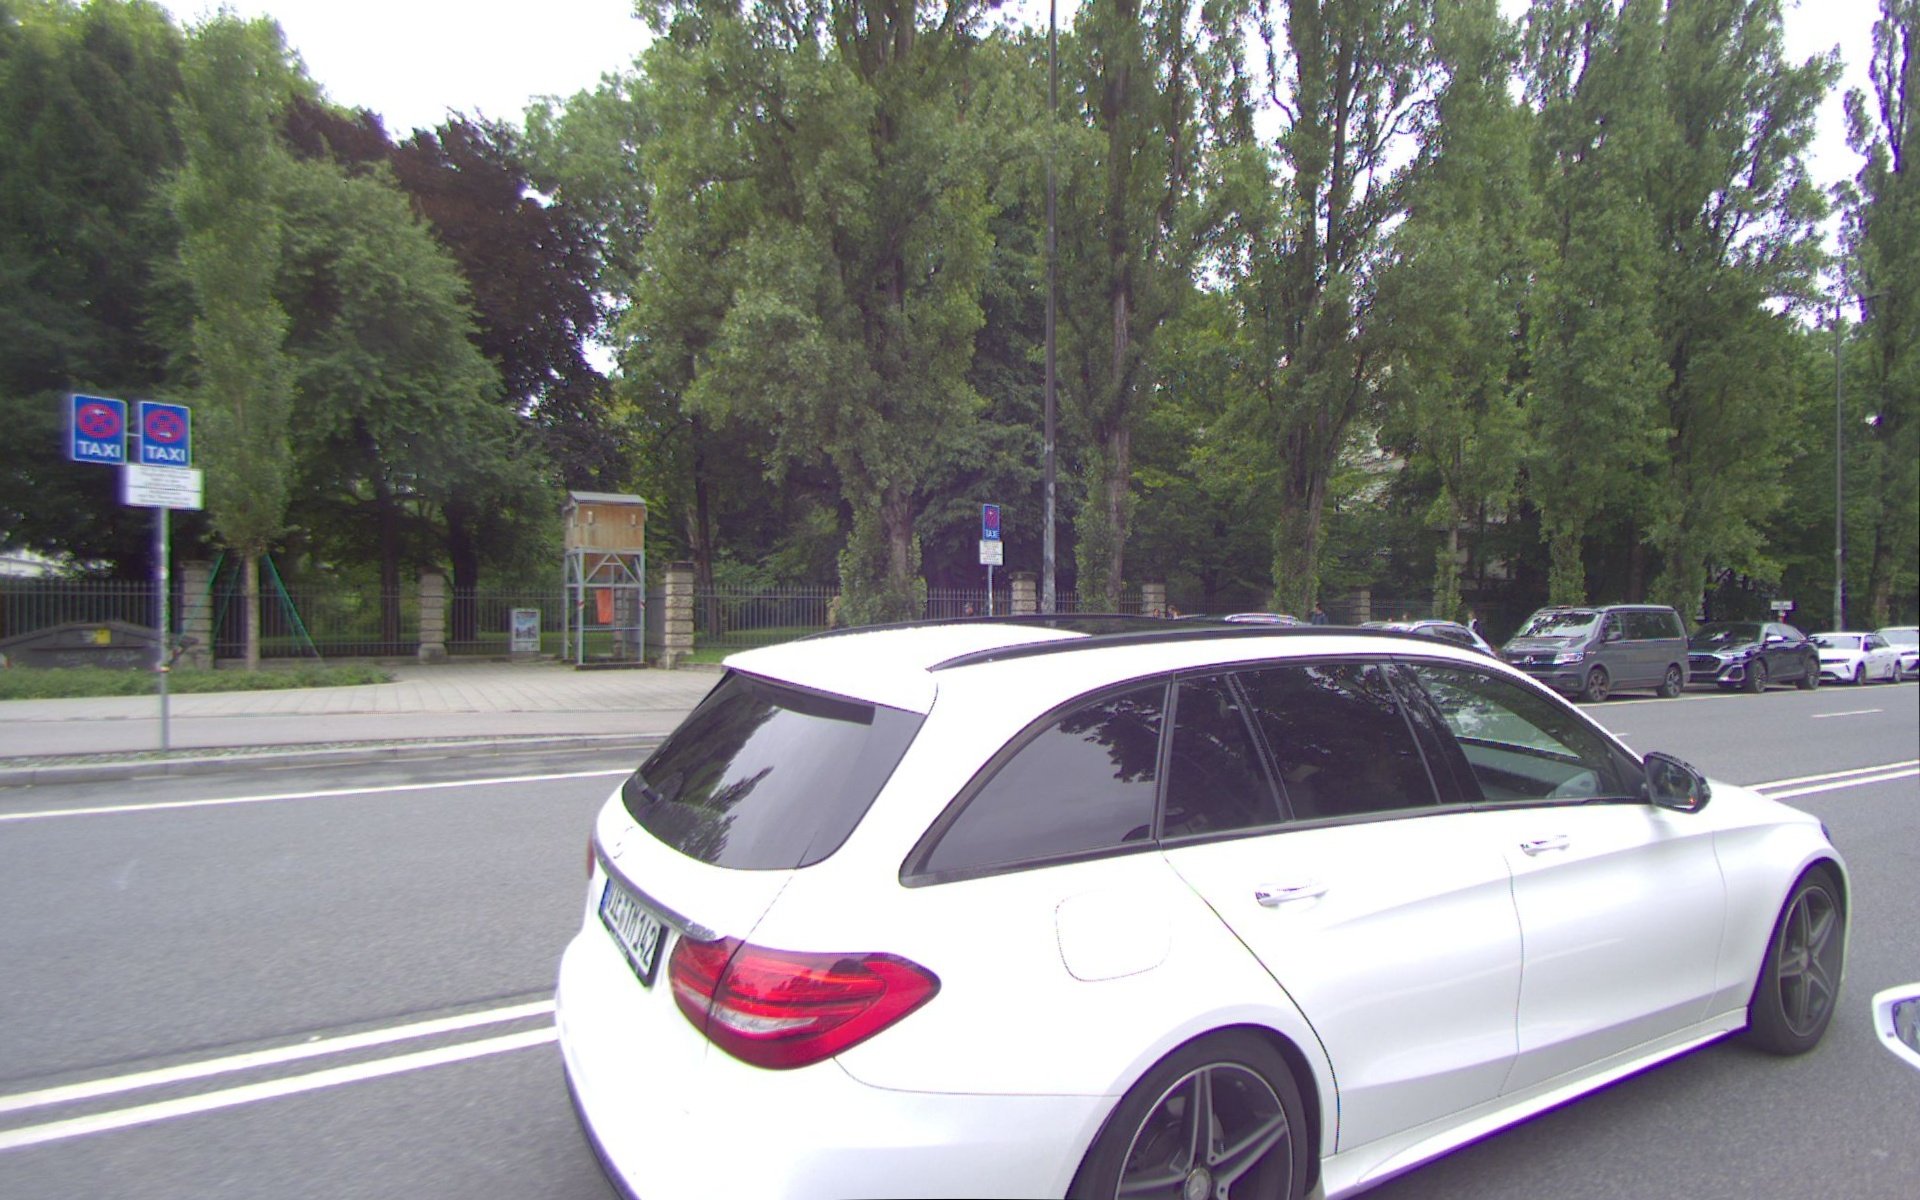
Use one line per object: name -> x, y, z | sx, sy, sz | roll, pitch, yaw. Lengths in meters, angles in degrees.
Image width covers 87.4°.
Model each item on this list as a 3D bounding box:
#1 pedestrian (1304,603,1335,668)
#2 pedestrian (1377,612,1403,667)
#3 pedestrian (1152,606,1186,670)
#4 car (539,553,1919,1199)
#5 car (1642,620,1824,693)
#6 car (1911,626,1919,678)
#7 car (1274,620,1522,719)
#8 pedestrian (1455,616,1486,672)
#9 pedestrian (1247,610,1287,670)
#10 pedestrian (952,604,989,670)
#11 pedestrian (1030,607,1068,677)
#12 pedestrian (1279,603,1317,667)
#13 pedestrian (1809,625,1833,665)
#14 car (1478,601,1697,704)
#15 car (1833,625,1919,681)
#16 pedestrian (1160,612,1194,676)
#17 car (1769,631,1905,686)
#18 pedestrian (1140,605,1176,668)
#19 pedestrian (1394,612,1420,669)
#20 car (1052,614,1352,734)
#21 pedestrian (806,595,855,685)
pedestrian -> 10.576, 1.031, 29.554 | 0.714, 1.884, 0.506 | 1, 0, -30
pedestrian -> 13.603, 1.243, 31.778 | 0.563, 1.730, 0.506 | 1, 0, -30
pedestrian -> 5.726, 1.025, 27.528 | 0.714, 1.730, 0.506 | 1, 0, -30
car -> 1.148, 0.715, 3.364 | 4.528, 1.474, 1.817 | 2, 0, -30
car -> 18.921, 1.362, 24.515 | 4.995, 1.630, 1.806 | 2, -3, -31
car -> 33.892, 1.711, 33.610 | 4.665, 1.680, 1.870 | 1, -3, -32
car -> 8.081, 1.205, 18.433 | 4.601, 1.605, 1.881 | 1, -2, -31
pedestrian -> 16.587, 1.422, 32.620 | 0.748, 1.780, 0.605 | 1, -1, -32
pedestrian -> 8.634, 1.110, 28.255 | 0.782, 1.639, 0.706 | 1, 0, -30
pedestrian -> 0.254, 0.907, 24.959 | 0.696, 1.617, 0.615 | 1, 0, -29
pedestrian -> 2.205, 1.032, 24.847 | 0.696, 1.682, 0.615 | 1, 0, -29
pedestrian -> 10.222, 1.052, 30.378 | 0.748, 1.879, 0.743 | 1, 0, -30
pedestrian -> 40.215, 2.095, 46.936 | 0.766, 1.839, 0.637 | 1, -1, -30
car -> 13.521, 1.085, 21.563 | 4.880, 1.982, 1.984 | 1, -2, -31
car -> 28.814, 1.590, 30.751 | 4.408, 1.609, 1.777 | 1, -3, -30
pedestrian -> 5.813, 1.171, 26.928 | 0.665, 1.691, 0.546 | 1, 0, -30
car -> 24.565, 1.620, 28.111 | 4.189, 1.441, 1.668 | 2, -3, -31
pedestrian -> 5.541, 1.010, 28.141 | 0.724, 1.745, 0.664 | 1, 0, -29
pedestrian -> 13.885, 1.243, 31.198 | 0.563, 1.730, 0.506 | 1, 0, -30
car -> 3.778, 1.068, 15.441 | 4.560, 1.617, 1.773 | 1, -3, -31
pedestrian -> -2.573, 0.790, 19.938 | 0.778, 1.743, 0.579 | 1, 0, -32
